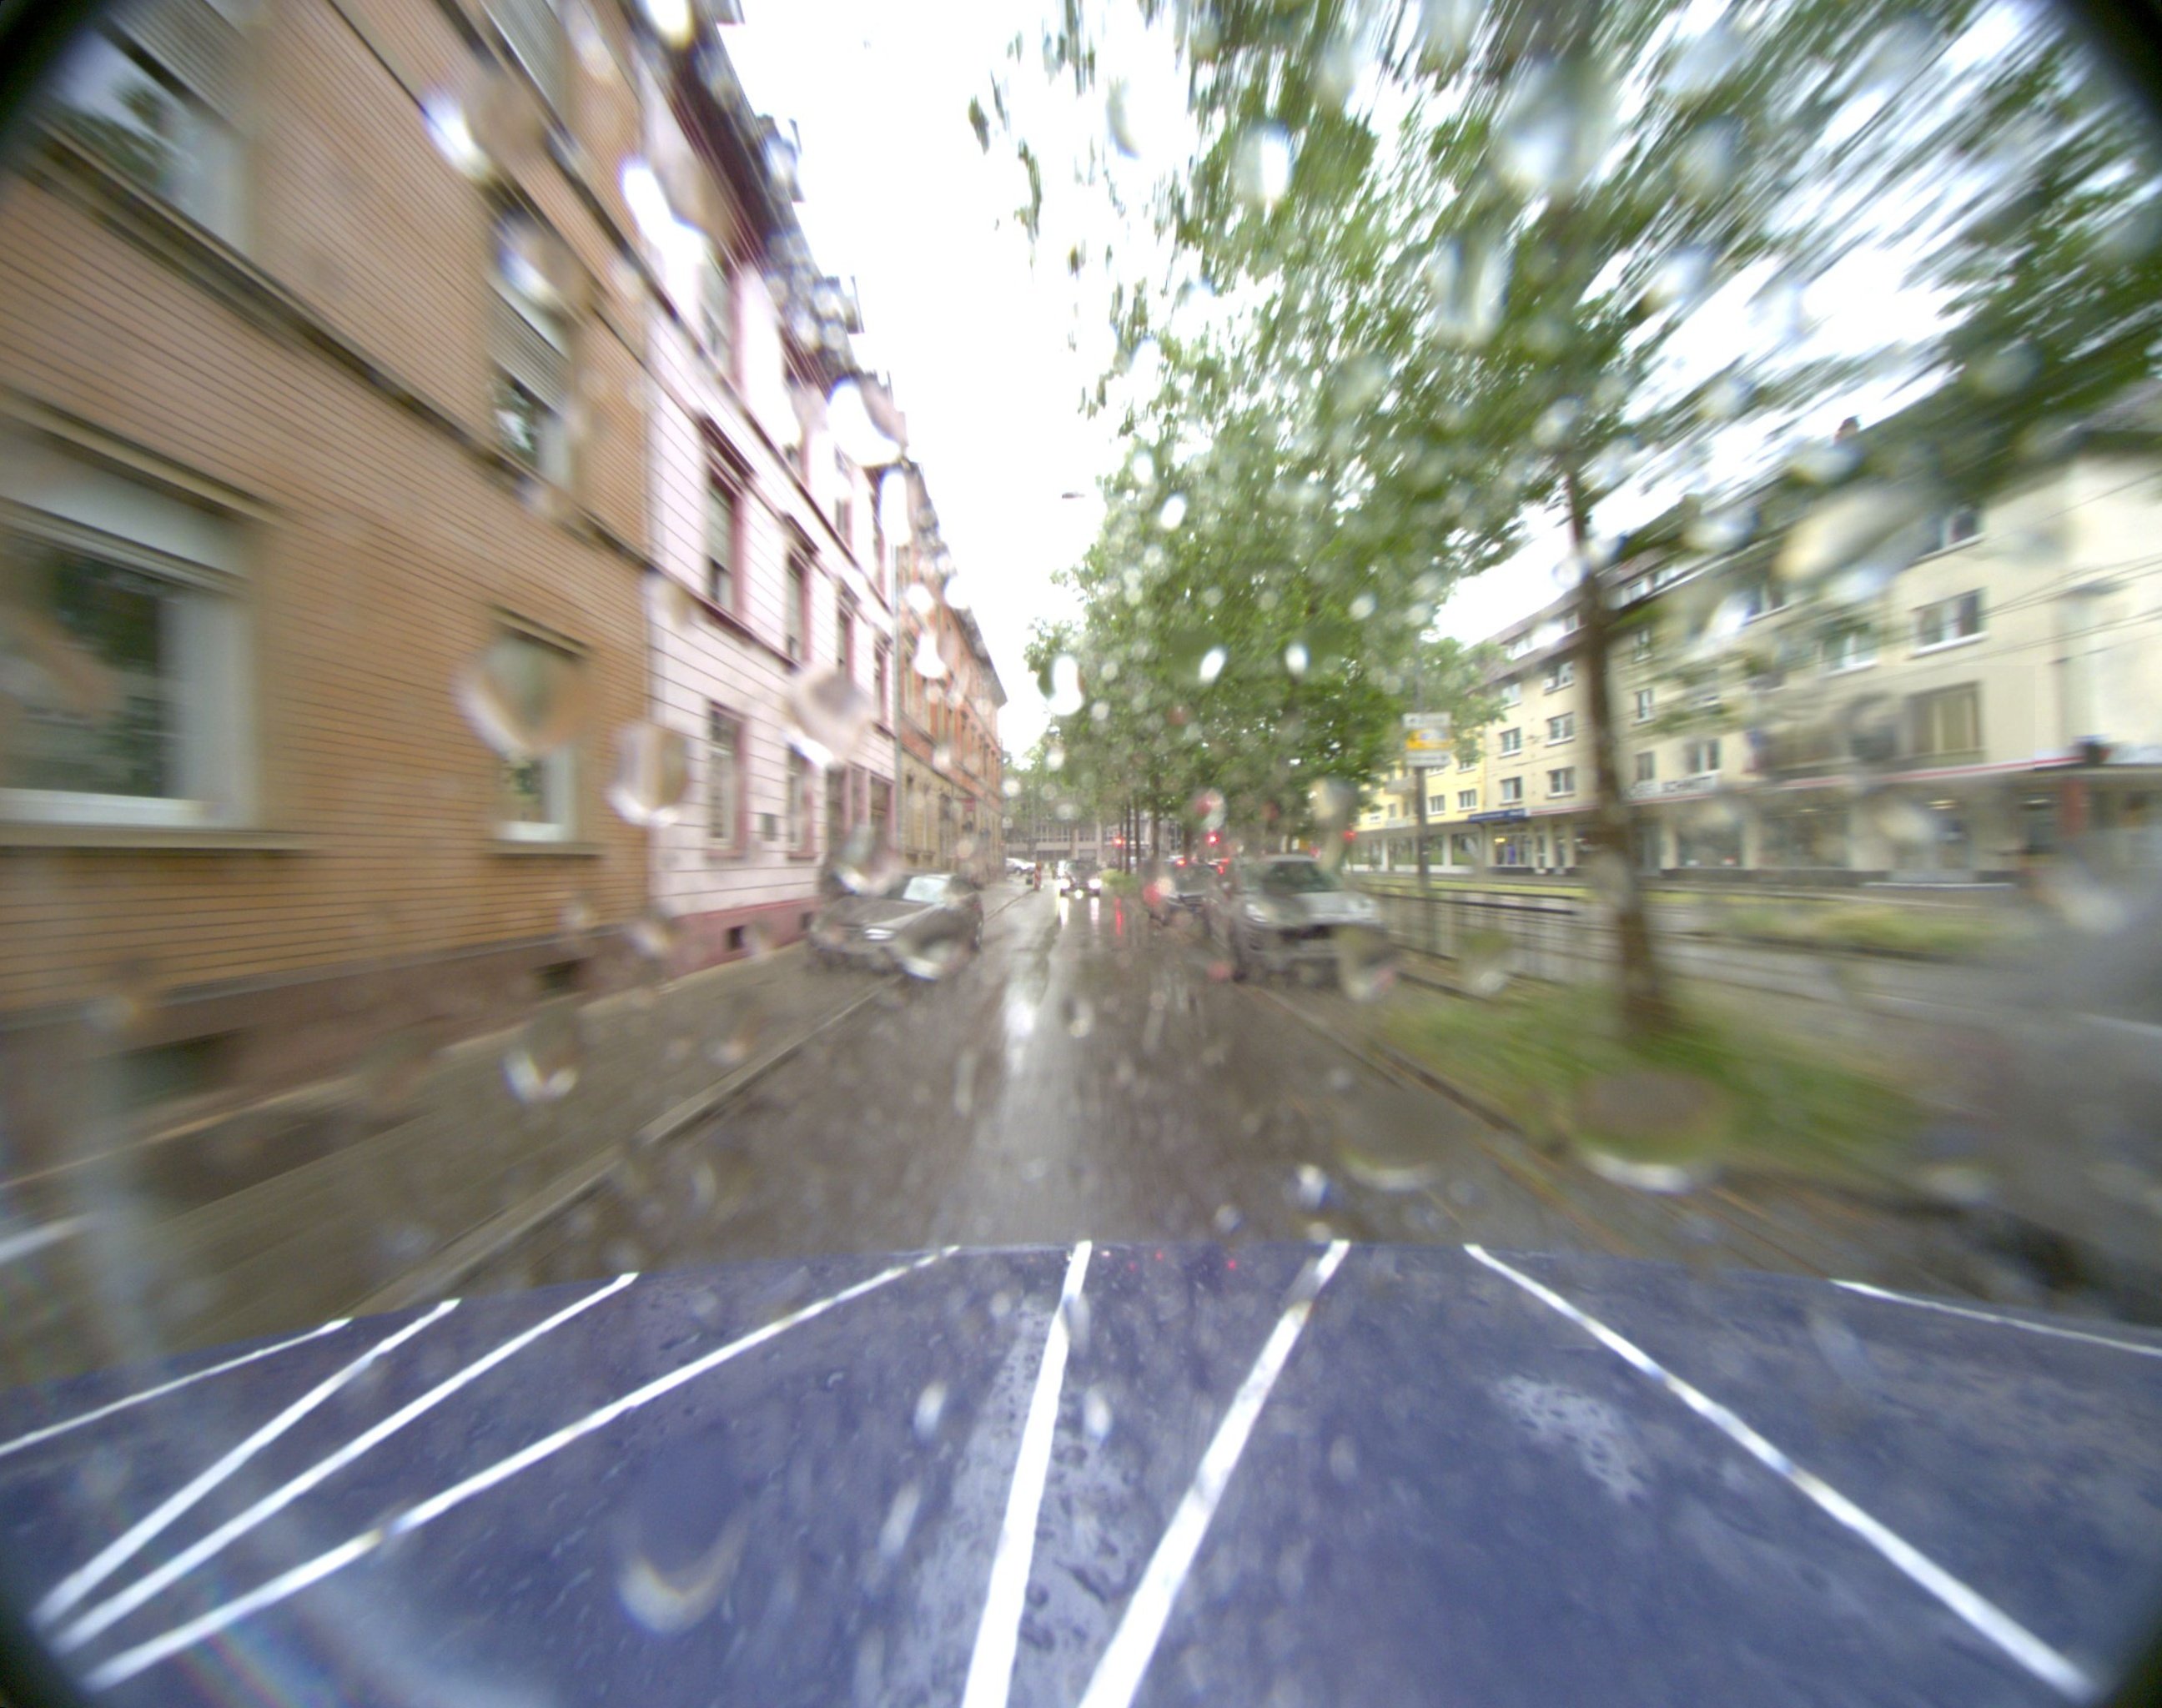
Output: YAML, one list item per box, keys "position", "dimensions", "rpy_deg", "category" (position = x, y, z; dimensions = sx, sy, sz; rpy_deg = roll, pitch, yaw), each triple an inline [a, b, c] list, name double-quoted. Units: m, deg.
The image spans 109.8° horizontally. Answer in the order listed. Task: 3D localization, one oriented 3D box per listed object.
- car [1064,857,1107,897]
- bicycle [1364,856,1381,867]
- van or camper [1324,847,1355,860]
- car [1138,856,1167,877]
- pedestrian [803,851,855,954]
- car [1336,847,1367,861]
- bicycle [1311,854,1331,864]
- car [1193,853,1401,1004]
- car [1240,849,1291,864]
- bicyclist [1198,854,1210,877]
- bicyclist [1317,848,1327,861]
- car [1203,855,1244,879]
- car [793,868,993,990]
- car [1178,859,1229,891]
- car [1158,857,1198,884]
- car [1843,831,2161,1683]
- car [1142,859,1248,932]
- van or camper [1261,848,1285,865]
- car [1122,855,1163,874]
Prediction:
- position: [0.166, 1.051, 36.845]
  dimensions: [1.913, 1.637, 4.678]
  rpy_deg: [-1, 1, -1]
  category: "car"
- position: [24.207, 0.631, 63.175]
  dimensions: [0.613, 0.891, 2.046]
  rpy_deg: [-1, 0, 0]
  category: "bicycle"
- position: [42.918, -0.066, 126.166]
  dimensions: [4.648, 2.063, 2.001]
  rpy_deg: [0, 1, 9]
  category: "van or camper"
- position: [5.523, 0.932, 59.018]
  dimensions: [1.739, 1.480, 4.500]
  rpy_deg: [-2, 0, 0]
  category: "car"
- position: [-4.208, 0.799, 12.732]
  dimensions: [0.640, 1.675, 0.603]
  rpy_deg: [2, 0, -1]
  category: "pedestrian"
- position: [42.056, -0.038, 118.064]
  dimensions: [4.389, 2.002, 2.069]
  rpy_deg: [-1, 2, 16]
  category: "car"
- position: [26.674, 0.556, 84.415]
  dimensions: [1.997, 1.082, 0.819]
  rpy_deg: [-1, 0, -2]
  category: "bicycle"
- position: [2.693, 0.820, 10.513]
  dimensions: [1.703, 1.626, 4.355]
  rpy_deg: [-1, 0, 1]
  category: "car"
- position: [20.900, 0.314, 86.205]
  dimensions: [5.338, 1.583, 1.947]
  rpy_deg: [-2, 0, -12]
  category: "car"
- position: [9.127, 0.859, 56.271]
  dimensions: [0.714, 1.706, 0.889]
  rpy_deg: [-1, 2, 0]
  category: "bicyclist"
- position: [26.817, 0.038, 84.469]
  dimensions: [0.805, 1.462, 0.927]
  rpy_deg: [-1, 2, -1]
  category: "bicyclist"
- position: [9.026, 0.796, 48.403]
  dimensions: [1.746, 1.389, 4.130]
  rpy_deg: [-2, 0, 0]
  category: "car"
- position: [-2.705, 1.010, 12.166]
  dimensions: [1.818, 1.412, 4.697]
  rpy_deg: [2, 0, 2]
  category: "car"
- position: [5.870, 0.996, 36.966]
  dimensions: [1.746, 1.389, 4.233]
  rpy_deg: [-2, 0, 0]
  category: "car"
- position: [5.619, 0.933, 44.394]
  dimensions: [1.746, 1.471, 4.431]
  rpy_deg: [-2, 0, 0]
  category: "car"
- position: [2.980, 0.748, 0.250]
  dimensions: [1.628, 1.671, 3.659]
  rpy_deg: [-2, -1, -3]
  category: "car"
- position: [2.712, 0.946, 19.166]
  dimensions: [1.833, 1.495, 4.612]
  rpy_deg: [-2, 0, -1]
  category: "car"
- position: [29.704, 0.315, 117.493]
  dimensions: [2.176, 2.457, 5.981]
  rpy_deg: [-1, 1, 29]
  category: "van or camper"
- position: [6.810, 1.127, 84.019]
  dimensions: [4.003, 2.002, 1.996]
  rpy_deg: [0, 2, -17]
  category: "car"
